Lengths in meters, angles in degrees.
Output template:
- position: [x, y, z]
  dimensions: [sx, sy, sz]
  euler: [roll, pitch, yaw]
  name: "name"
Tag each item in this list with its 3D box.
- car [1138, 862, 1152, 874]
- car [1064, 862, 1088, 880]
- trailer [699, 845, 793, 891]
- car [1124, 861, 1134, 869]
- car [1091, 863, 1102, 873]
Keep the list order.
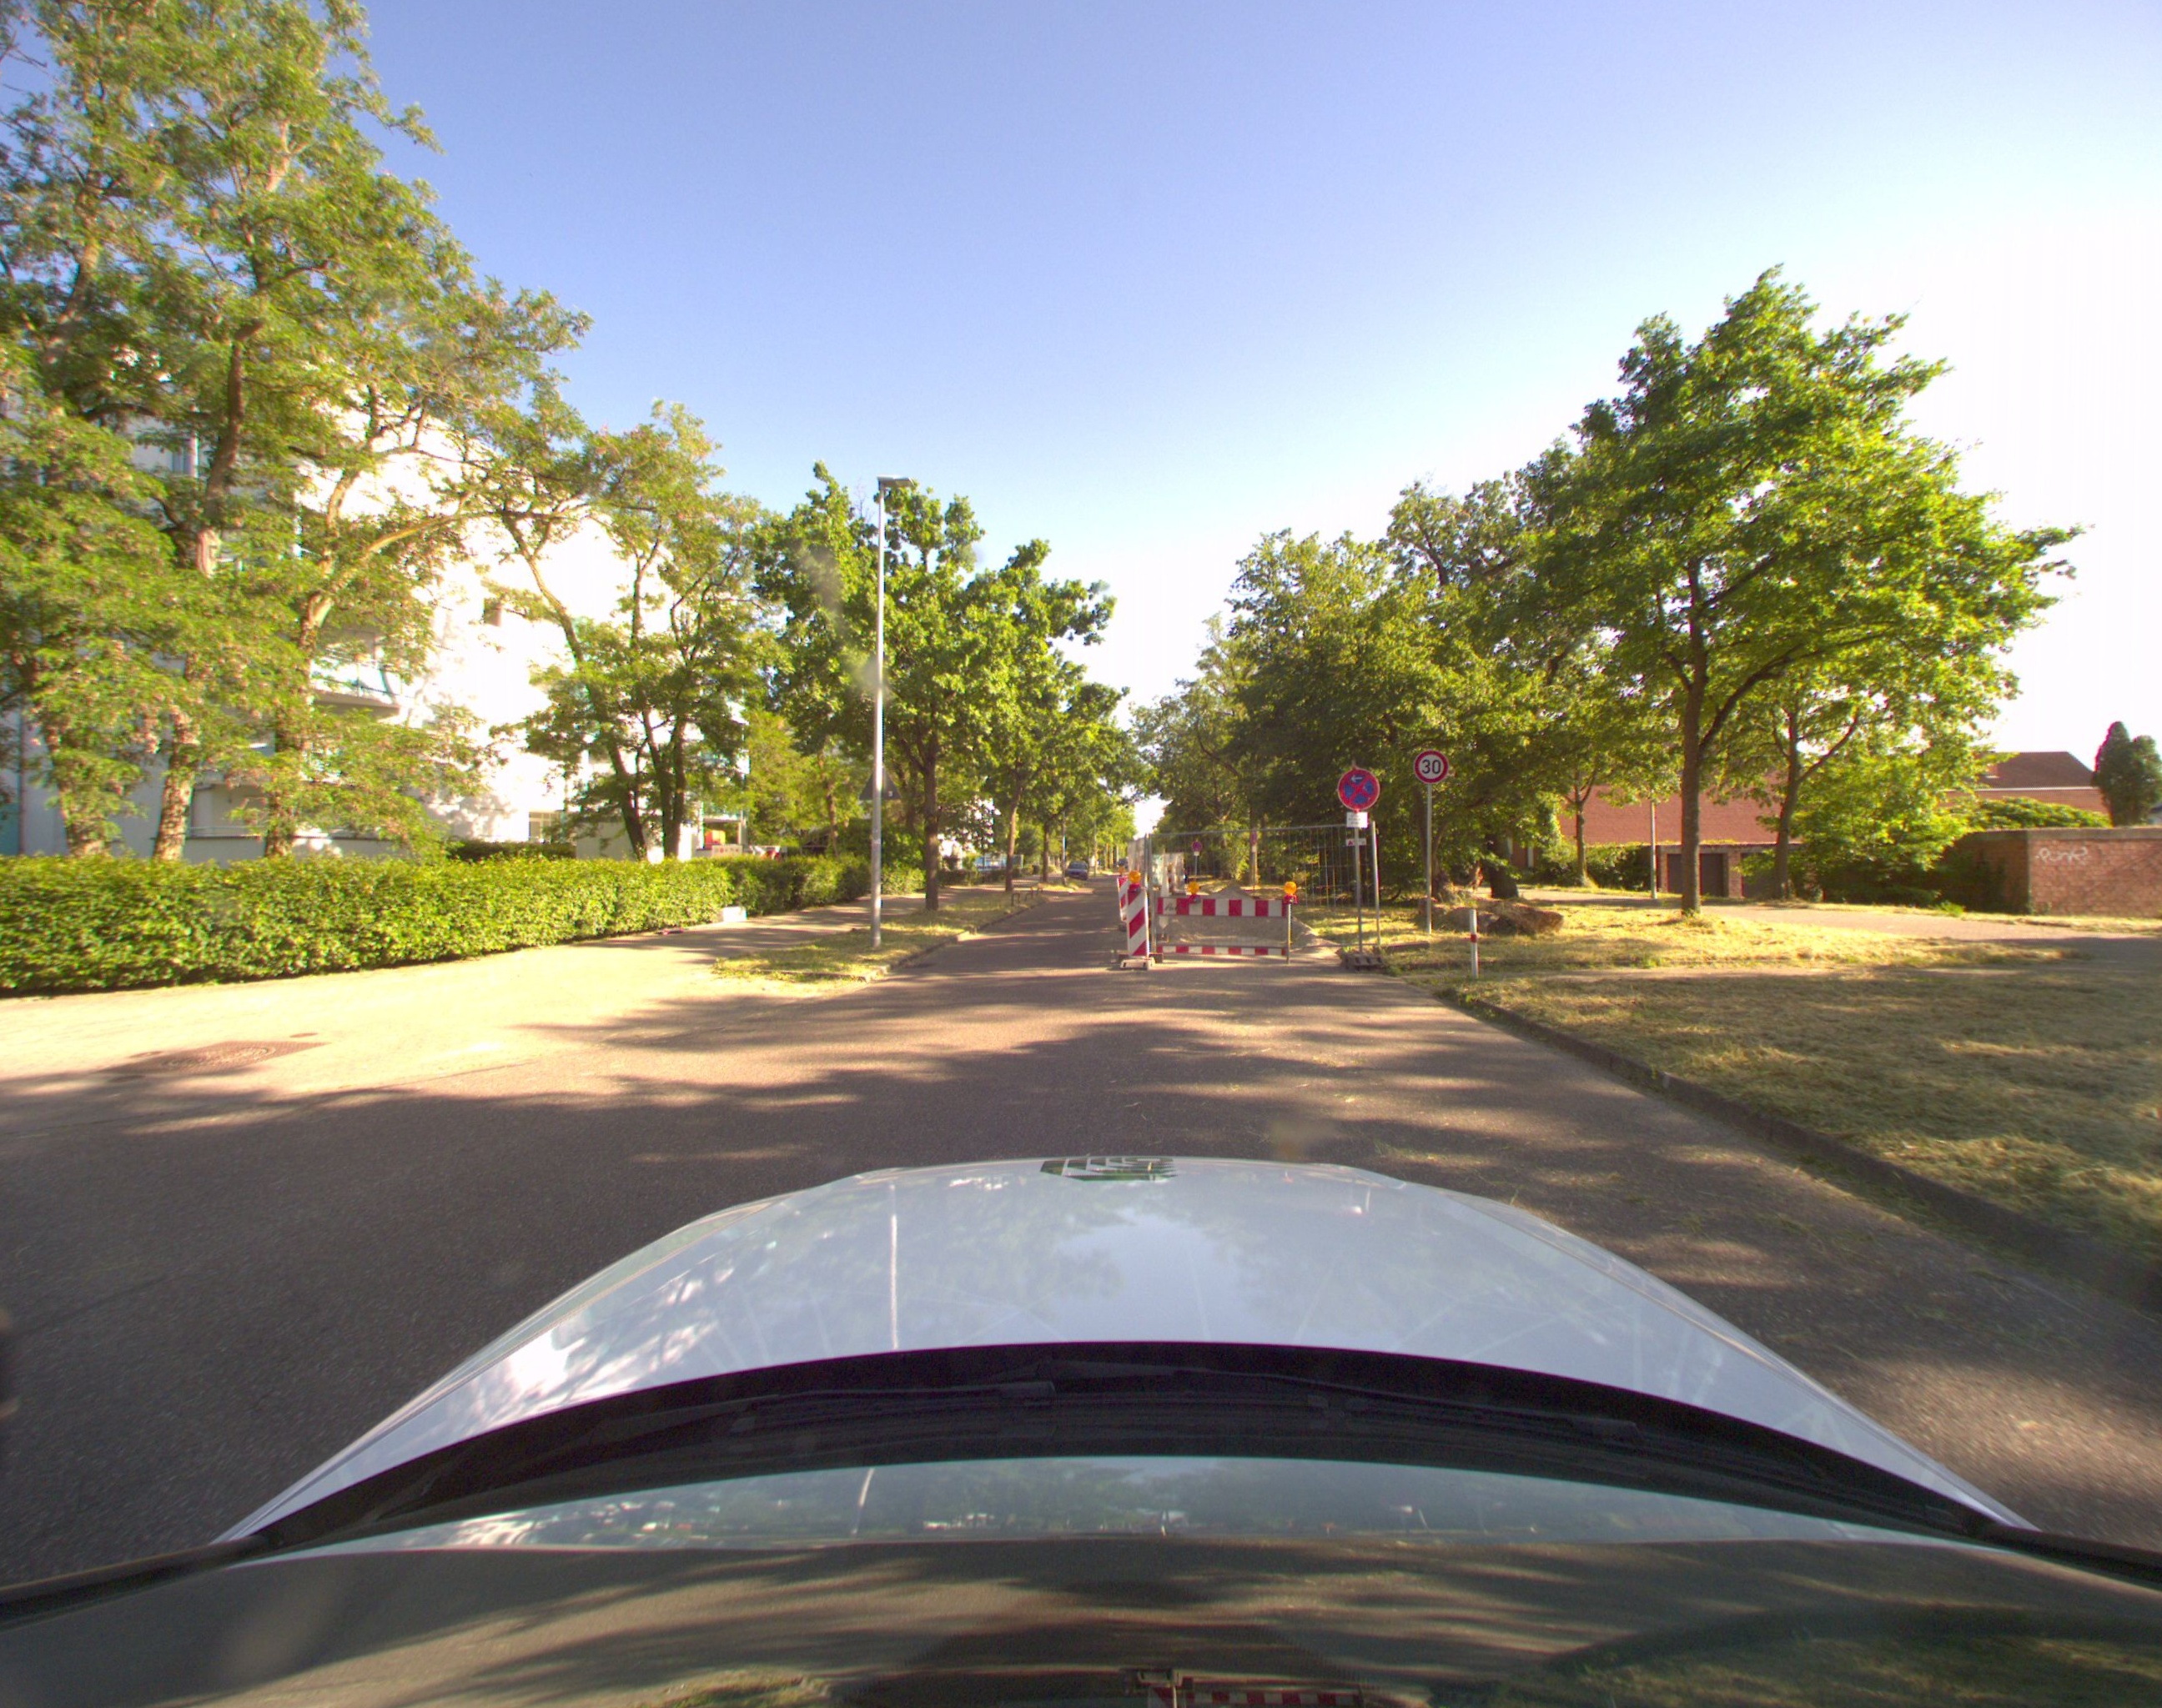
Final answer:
- position: [7.044, 1.561, 89.395]
  dimensions: [1.356, 1.302, 3.482]
  euler: [1, -1, 2]
  name: "car"
- position: [-0.396, 1.372, 67.073]
  dimensions: [1.743, 1.478, 3.839]
  euler: [0, -1, 3]
  name: "car"
- position: [-15.738, 0.653, 38.501]
  dimensions: [1.964, 2.043, 4.443]
  euler: [-1, -1, 11]
  name: "trailer"
- position: [10.006, 2.376, 169.801]
  dimensions: [1.705, 1.585, 4.000]
  euler: [1, -1, 1]
  name: "car"
- position: [1.981, 1.785, 102.271]
  dimensions: [1.356, 1.302, 3.482]
  euler: [1, -1, 2]
  name: "car"
